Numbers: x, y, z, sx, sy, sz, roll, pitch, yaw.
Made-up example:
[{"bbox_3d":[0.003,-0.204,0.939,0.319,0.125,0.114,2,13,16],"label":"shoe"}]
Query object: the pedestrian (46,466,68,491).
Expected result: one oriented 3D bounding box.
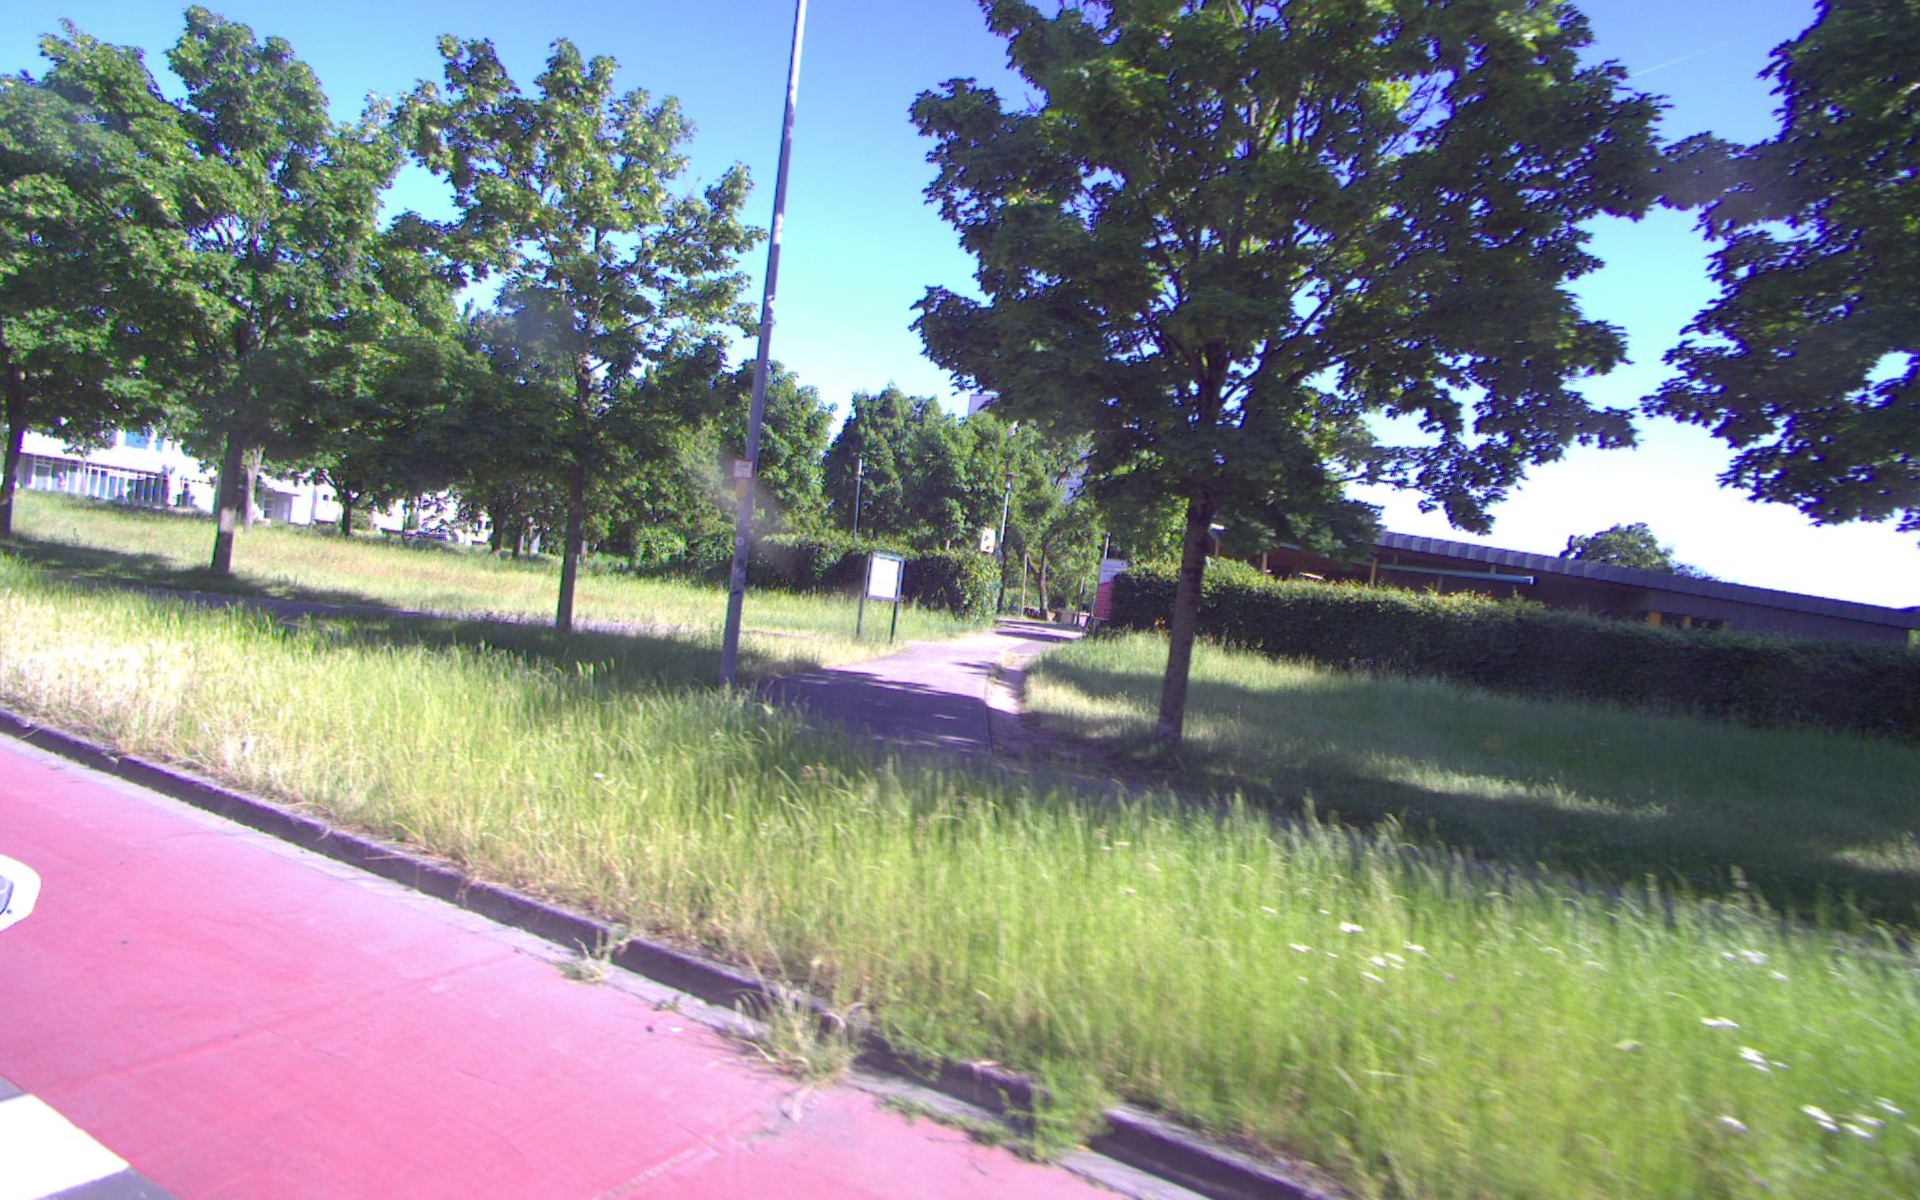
[{"bbox_3d":[-71.219,-9.600,79.384,0.642,1.745,0.992,8,1,25],"label":"pedestrian"}]
